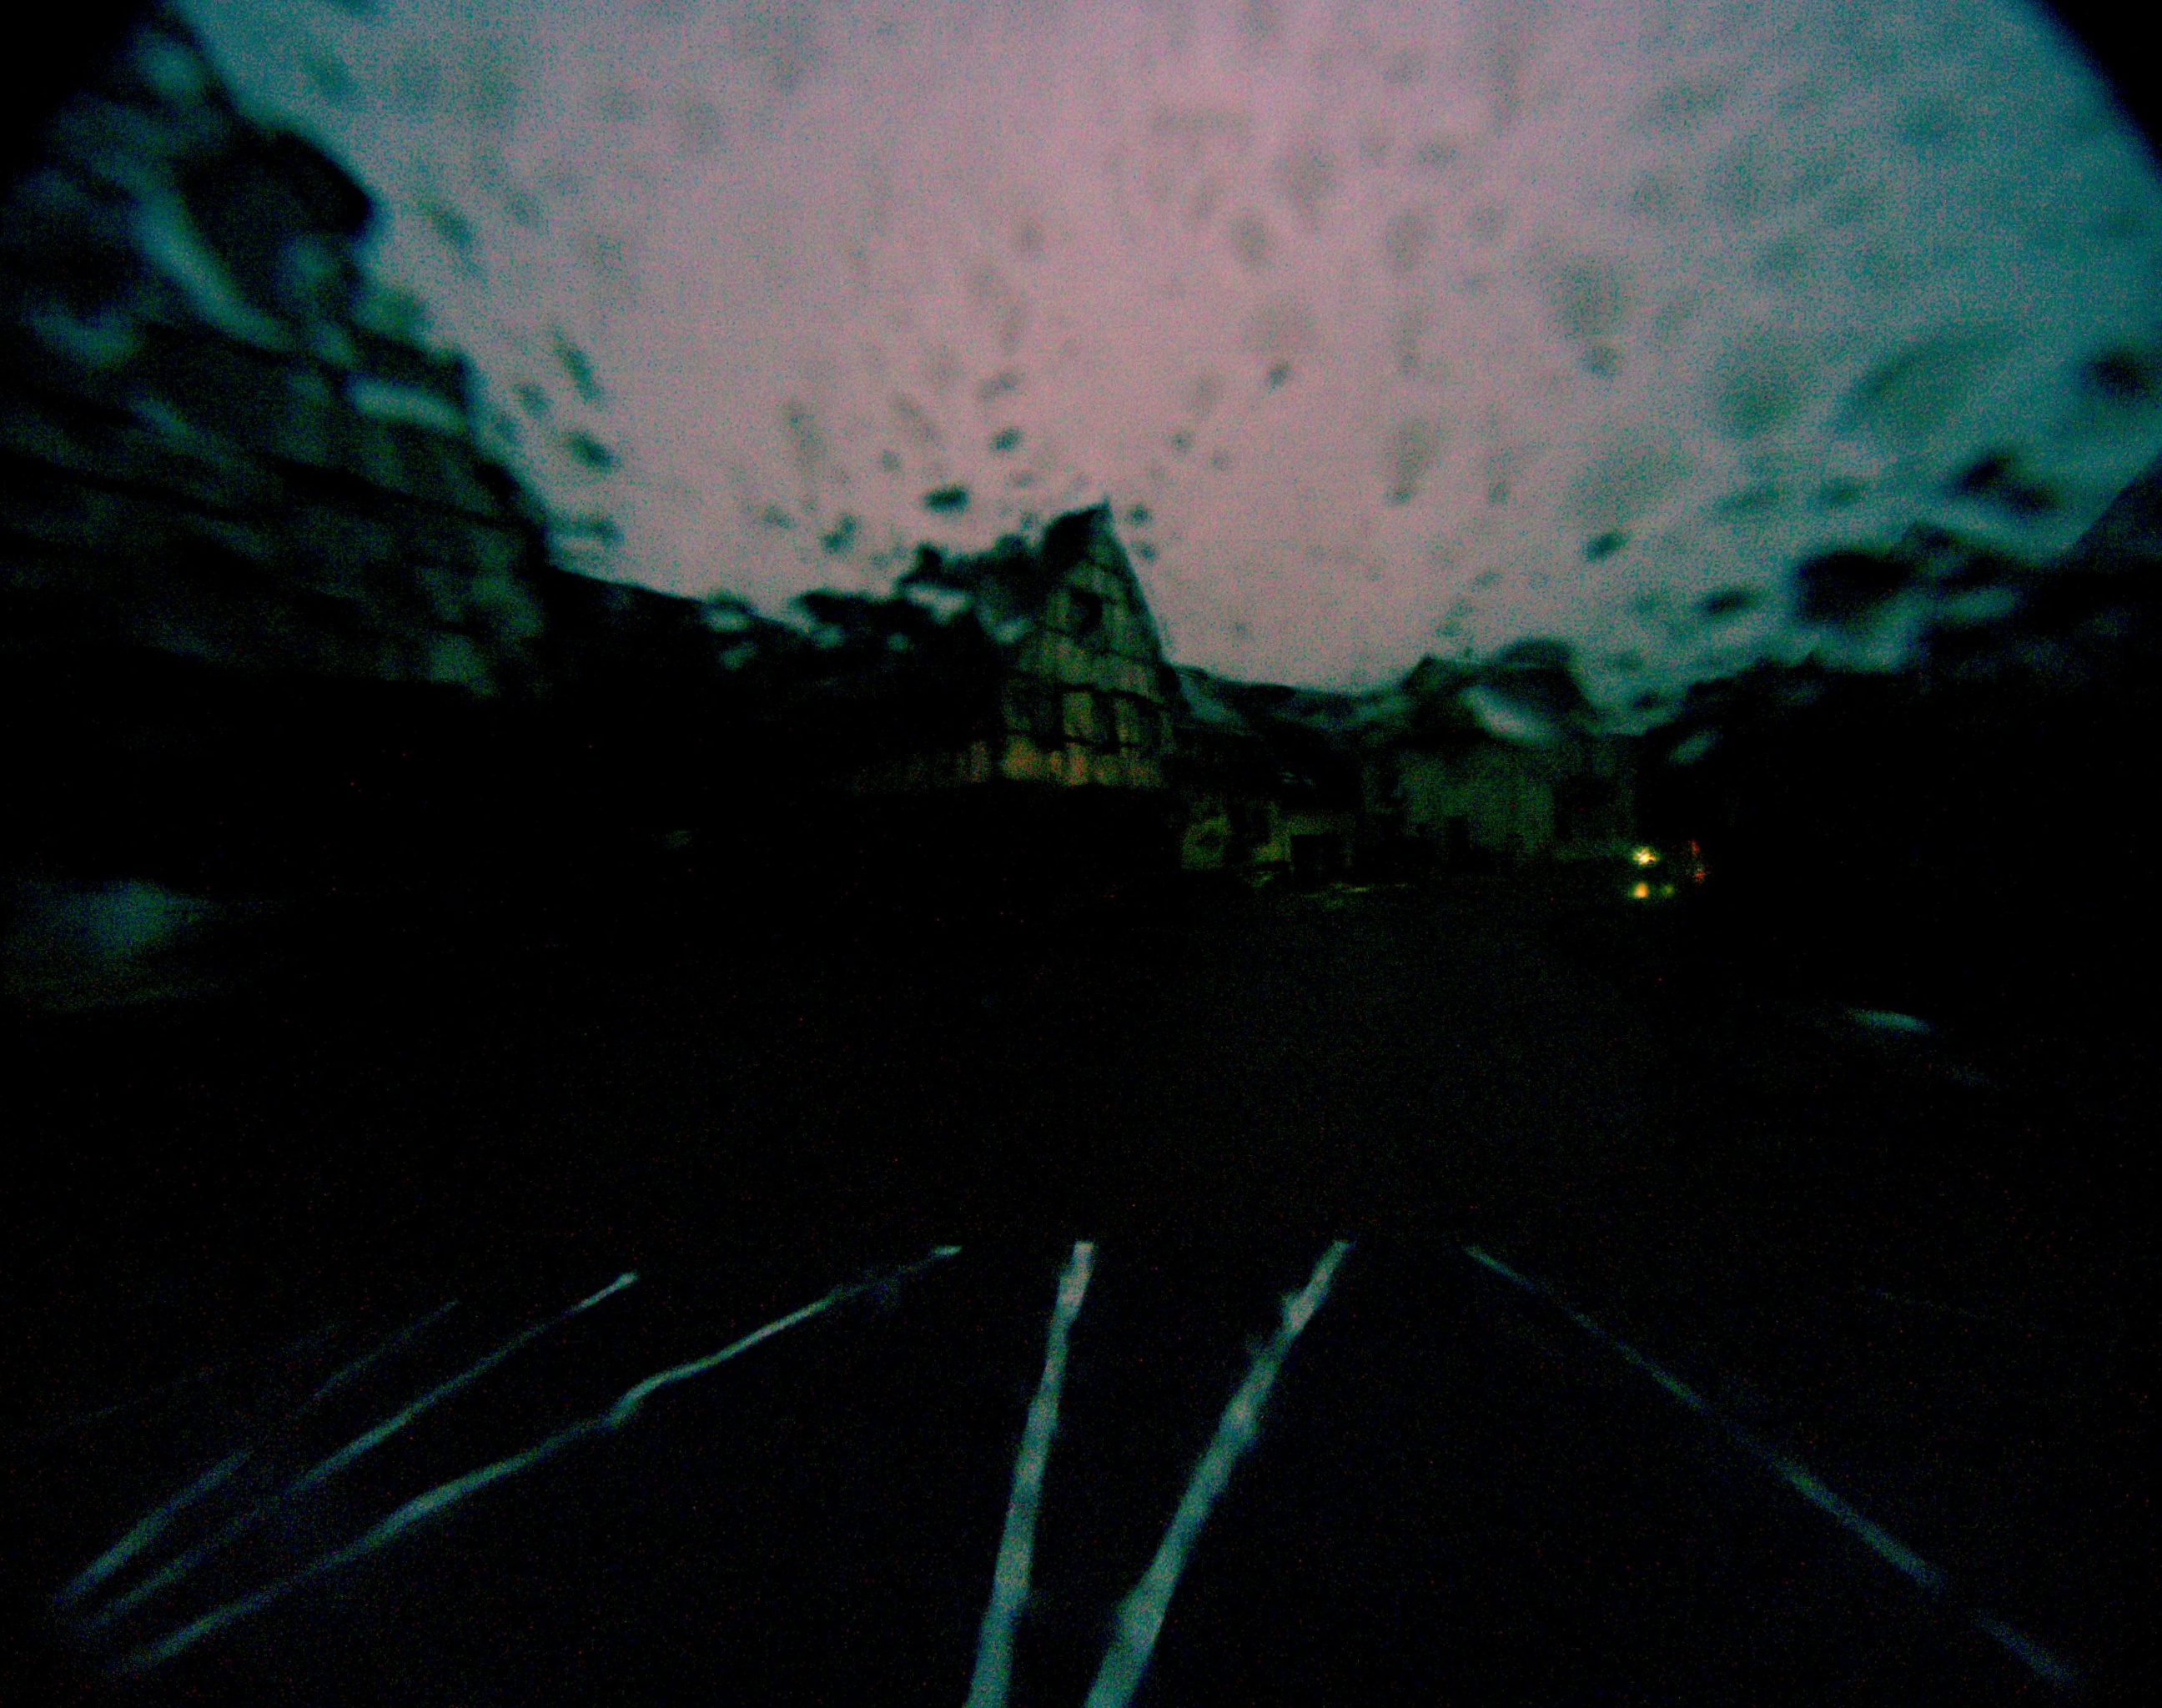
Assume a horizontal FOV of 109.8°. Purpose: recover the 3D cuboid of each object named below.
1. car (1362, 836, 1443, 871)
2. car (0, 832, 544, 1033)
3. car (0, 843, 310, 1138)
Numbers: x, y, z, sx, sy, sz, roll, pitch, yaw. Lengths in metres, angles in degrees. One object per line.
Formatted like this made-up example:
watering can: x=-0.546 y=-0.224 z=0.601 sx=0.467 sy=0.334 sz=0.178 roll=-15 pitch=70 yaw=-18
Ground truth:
car: x=15.896 y=-0.073 z=37.690 sx=1.651 sy=1.498 sz=3.482 roll=-2 pitch=4 yaw=-24
car: x=-7.776 y=0.651 z=7.372 sx=3.994 sy=1.507 sz=1.593 roll=3 pitch=0 yaw=-42
car: x=-6.954 y=0.637 z=3.796 sx=4.046 sy=1.412 sz=1.810 roll=3 pitch=0 yaw=-35
